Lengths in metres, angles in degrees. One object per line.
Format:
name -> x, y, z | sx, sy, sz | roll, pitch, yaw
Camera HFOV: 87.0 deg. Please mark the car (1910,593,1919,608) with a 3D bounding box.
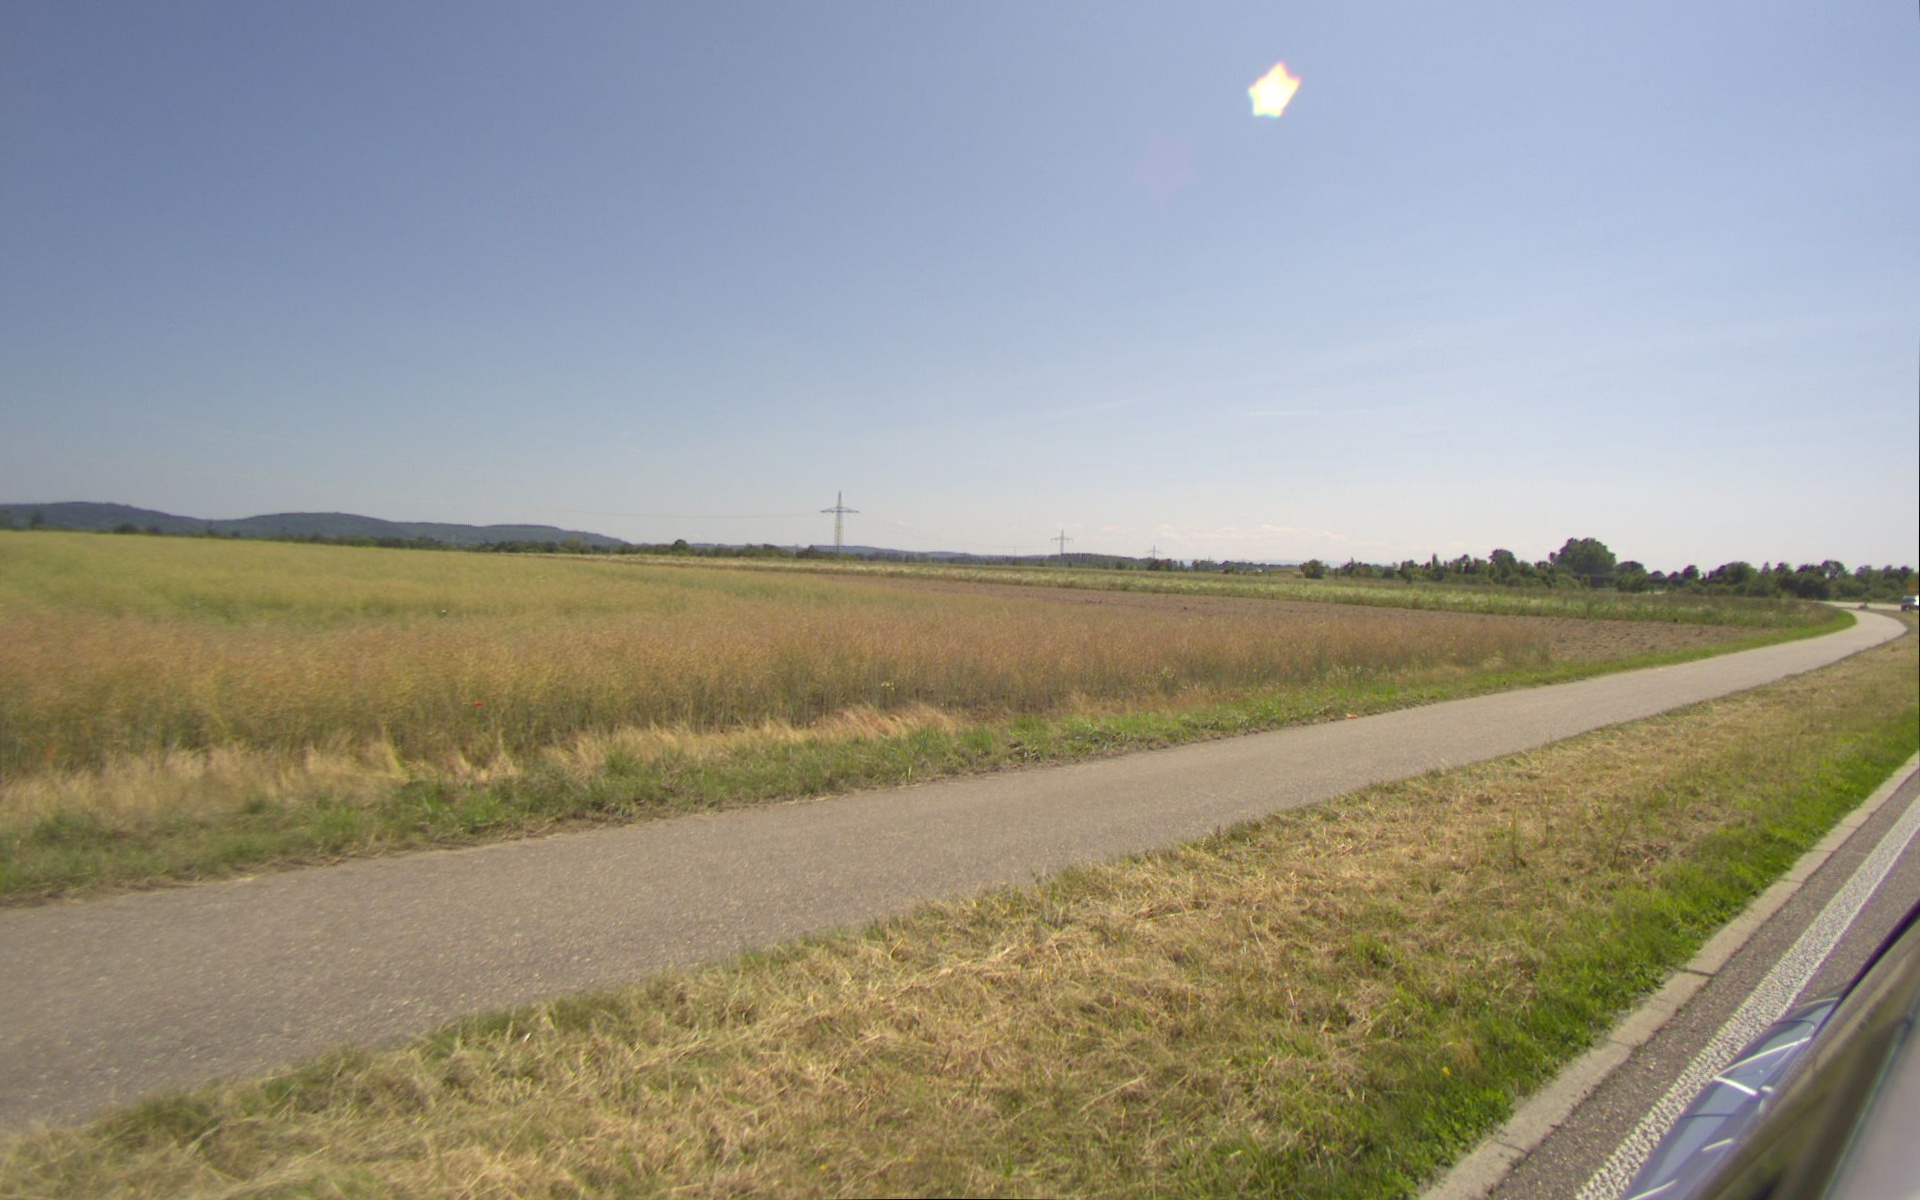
car -> 112.800, 0.054, 118.381 | 1.975, 1.616, 5.326 | 1, 1, 39
